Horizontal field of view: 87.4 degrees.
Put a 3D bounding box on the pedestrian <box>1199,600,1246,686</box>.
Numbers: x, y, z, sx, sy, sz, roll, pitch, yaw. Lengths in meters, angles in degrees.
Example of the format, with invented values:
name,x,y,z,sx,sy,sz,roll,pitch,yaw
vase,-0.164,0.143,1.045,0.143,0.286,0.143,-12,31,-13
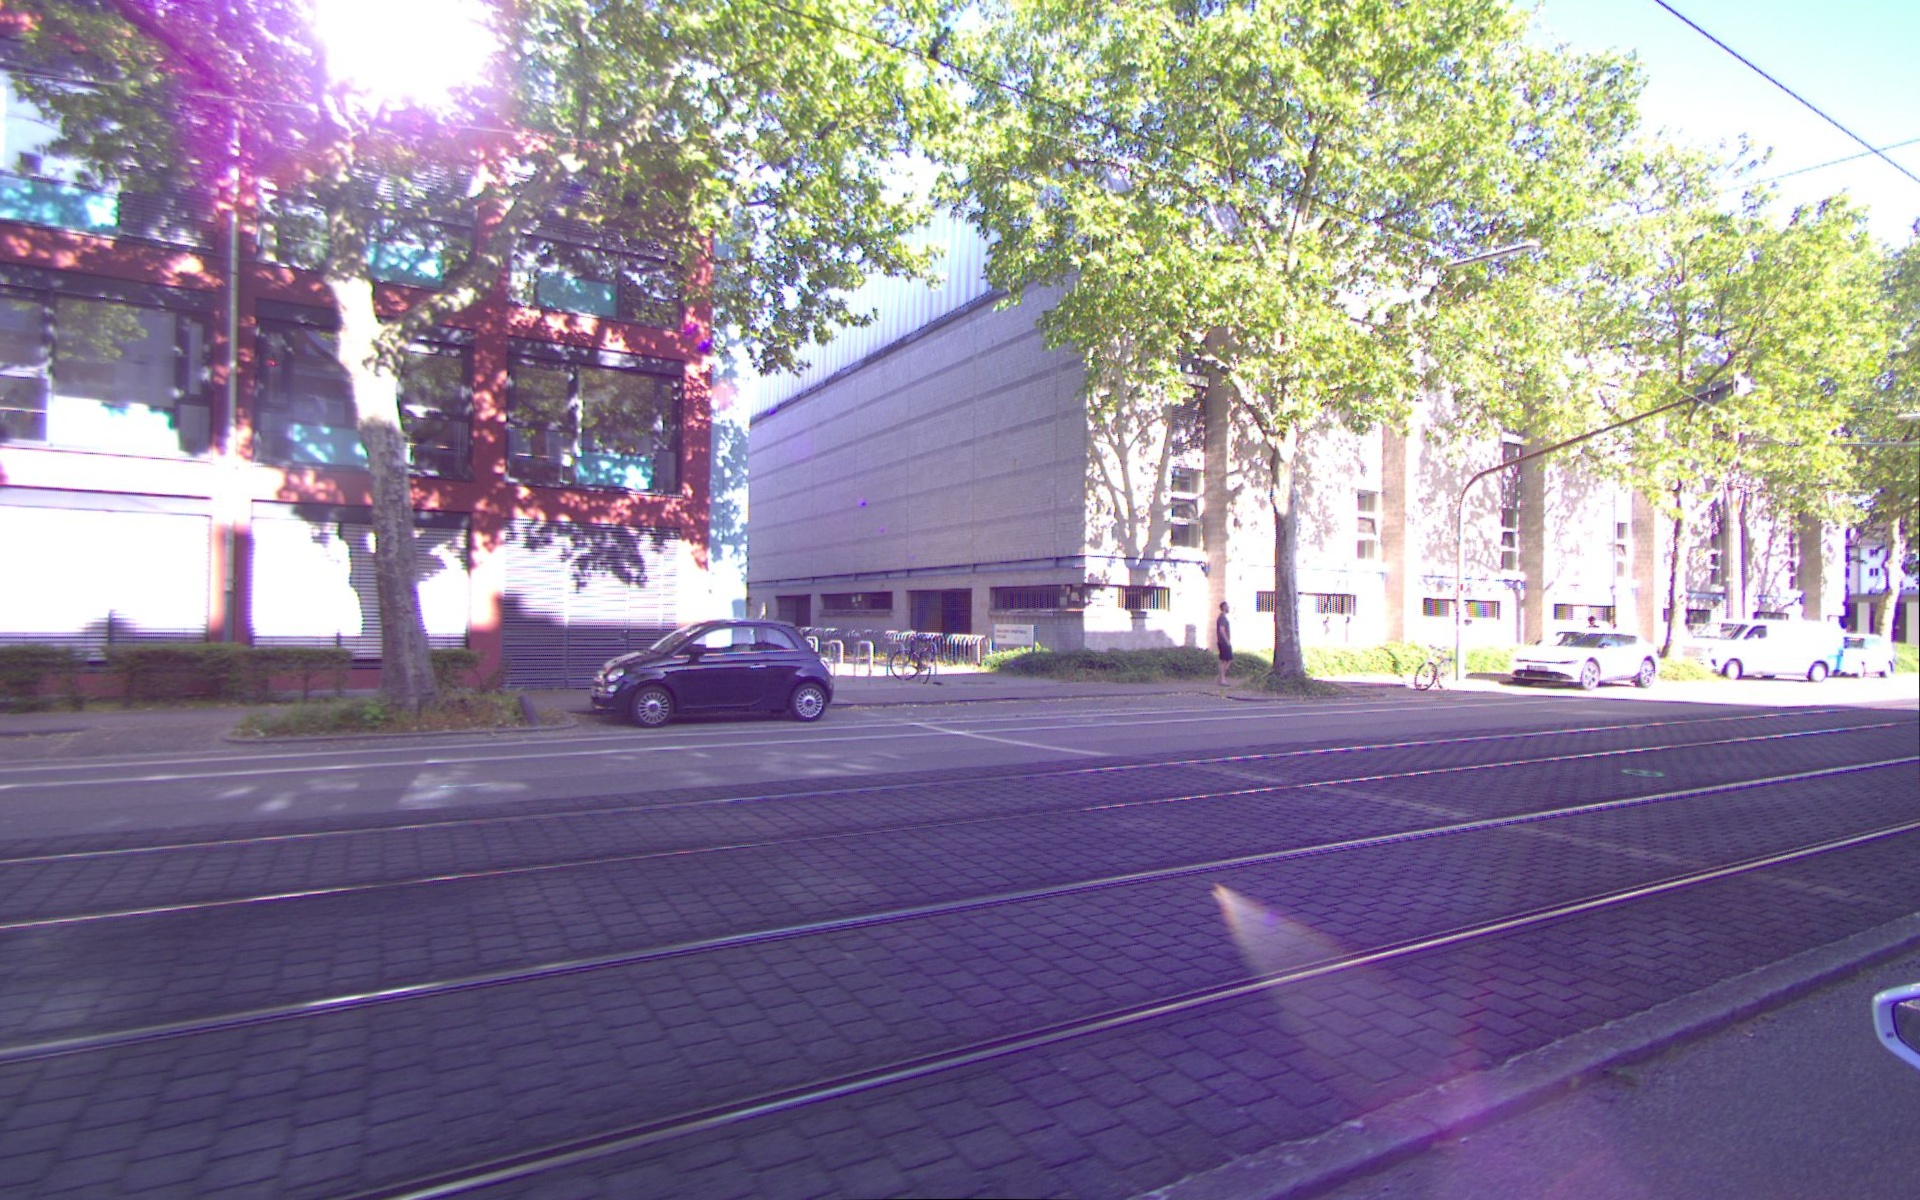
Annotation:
name,x,y,z,sx,sy,sz,roll,pitch,yaw
pedestrian,5.939,0.963,22.732,0.661,1.895,0.784,1,1,-20

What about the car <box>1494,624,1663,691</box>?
name,x,y,z,sx,sy,sz,roll,pitch,yaw
car,16.678,1.482,27.036,4.641,1.594,2.000,1,1,-32

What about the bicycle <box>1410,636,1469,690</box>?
name,x,y,z,sx,sy,sz,roll,pitch,yaw
bicycle,11.737,1.522,24.565,1.638,1.225,0.577,1,1,-37

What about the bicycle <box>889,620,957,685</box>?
name,x,y,z,sx,sy,sz,roll,pitch,yaw
bicycle,-0.843,1.137,22.224,0.656,1.295,1.999,1,1,-29

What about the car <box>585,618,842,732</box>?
name,x,y,z,sx,sy,sz,roll,pitch,yaw
car,-3.625,1.035,14.873,3.421,1.473,1.500,1,1,-29

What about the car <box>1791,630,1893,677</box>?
name,x,y,z,sx,sy,sz,roll,pitch,yaw
car,31.753,1.890,36.124,4.043,1.527,1.566,1,1,-31

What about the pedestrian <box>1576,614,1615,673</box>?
name,x,y,z,sx,sy,sz,roll,pitch,yaw
pedestrian,20.439,1.396,32.328,0.662,1.845,0.793,1,1,-30

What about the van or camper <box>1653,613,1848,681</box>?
name,x,y,z,sx,sy,sz,roll,pitch,yaw
van or camper,25.417,1.489,32.363,5.097,1.976,2.063,1,1,-11
